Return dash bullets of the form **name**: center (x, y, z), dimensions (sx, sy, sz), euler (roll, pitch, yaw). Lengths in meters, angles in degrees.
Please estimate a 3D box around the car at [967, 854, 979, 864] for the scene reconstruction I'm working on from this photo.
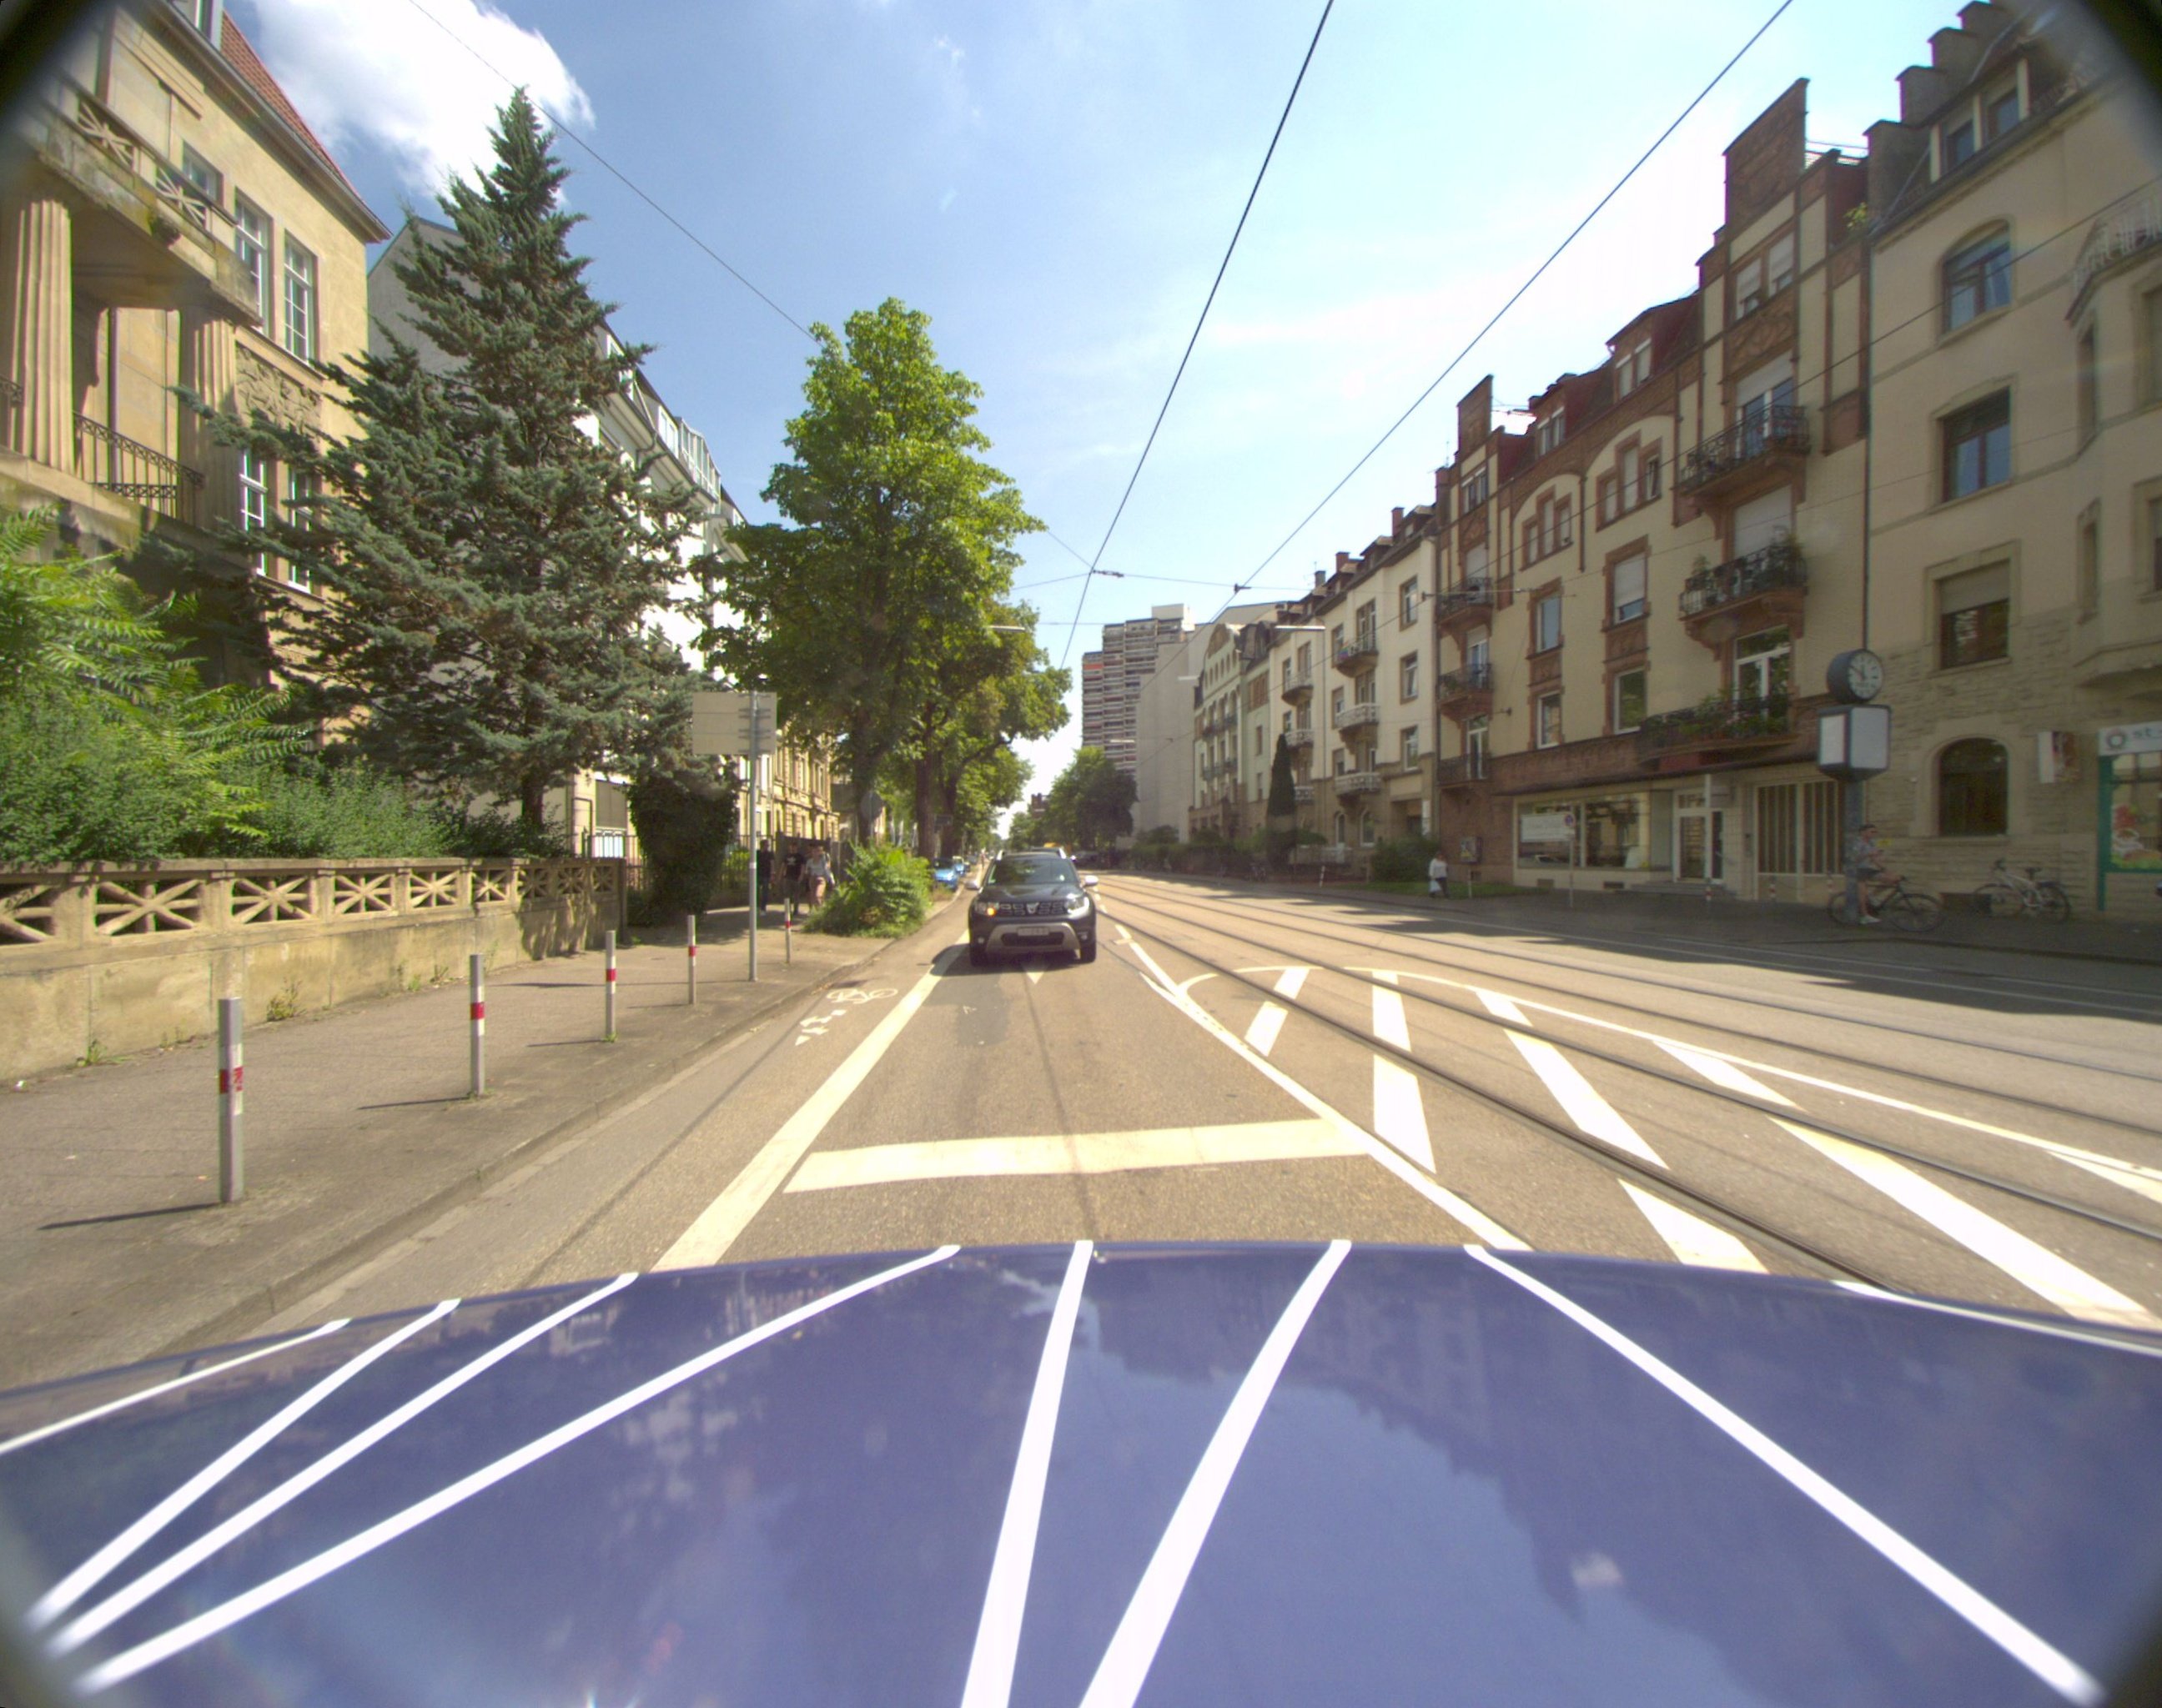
- **car**: center (-15.886, 0.764, 111.861), dimensions (1.627, 1.394, 3.997), euler (2, 0, -7)

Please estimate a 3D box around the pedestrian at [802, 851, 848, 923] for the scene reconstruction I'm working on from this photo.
- **pedestrian**: center (-6.005, 0.753, 17.882), dimensions (0.768, 1.641, 0.974), euler (0, 1, -2)

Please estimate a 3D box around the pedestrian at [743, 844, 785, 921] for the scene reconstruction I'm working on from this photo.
- **pedestrian**: center (-7.546, 0.657, 18.119), dimensions (0.663, 1.801, 0.976), euler (0, 1, -7)

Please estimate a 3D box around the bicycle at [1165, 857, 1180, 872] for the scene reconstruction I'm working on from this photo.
- **bicycle**: center (6.808, 0.779, 56.454), dimensions (0.609, 1.026, 1.770), euler (-4, 1, -7)

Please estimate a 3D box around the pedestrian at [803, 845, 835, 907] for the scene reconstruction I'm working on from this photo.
- **pedestrian**: center (-7.837, 0.642, 22.784), dimensions (0.686, 1.787, 1.083), euler (0, 1, -7)

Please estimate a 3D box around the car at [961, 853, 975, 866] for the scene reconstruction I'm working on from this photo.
- **car**: center (-13.720, 0.667, 92.478), dimensions (1.627, 1.394, 3.820), euler (2, 0, -7)

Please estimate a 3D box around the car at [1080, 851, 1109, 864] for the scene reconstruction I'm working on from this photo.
- **car**: center (1.689, 0.474, 94.566), dimensions (1.677, 1.566, 3.692), euler (1, 1, 40)

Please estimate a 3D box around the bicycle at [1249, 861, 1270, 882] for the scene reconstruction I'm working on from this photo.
- **bicycle**: center (9.084, 0.880, 38.728), dimensions (0.412, 0.955, 1.839), euler (-4, 2, -7)

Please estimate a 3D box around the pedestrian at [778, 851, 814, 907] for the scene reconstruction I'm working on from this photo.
- **pedestrian**: center (-8.519, 0.728, 22.719), dimensions (0.860, 1.636, 0.836), euler (0, 1, -10)

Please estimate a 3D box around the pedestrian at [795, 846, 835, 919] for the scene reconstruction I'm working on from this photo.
- **pedestrian**: center (-6.570, 0.679, 18.796), dimensions (0.707, 1.766, 0.946), euler (0, 1, -5)

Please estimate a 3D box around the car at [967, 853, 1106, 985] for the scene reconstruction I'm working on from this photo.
- **car**: center (-0.806, 0.834, 11.976), dimensions (1.753, 1.641, 4.295), euler (-2, 0, -6)

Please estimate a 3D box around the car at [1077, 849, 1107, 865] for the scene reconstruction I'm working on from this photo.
- **car**: center (1.404, 0.414, 98.193), dimensions (1.597, 2.030, 4.061), euler (0, 0, 43)

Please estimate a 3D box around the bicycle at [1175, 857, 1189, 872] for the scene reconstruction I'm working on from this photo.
- **bicycle**: center (7.066, 0.745, 53.204), dimensions (0.466, 0.993, 1.707), euler (-4, 1, -7)

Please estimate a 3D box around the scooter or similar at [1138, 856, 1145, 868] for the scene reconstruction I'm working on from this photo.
- **scooter or similar**: center (5.342, 0.703, 67.507), dimensions (0.407, 1.113, 1.290), euler (-1, 0, -5)

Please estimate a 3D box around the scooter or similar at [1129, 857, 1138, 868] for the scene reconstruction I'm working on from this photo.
- **scooter or similar**: center (4.899, 0.776, 70.837), dimensions (0.407, 1.014, 1.221), euler (0, 0, -23)

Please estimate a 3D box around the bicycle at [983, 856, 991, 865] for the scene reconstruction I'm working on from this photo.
- **bicycle**: center (-10.908, 0.743, 87.893), dimensions (0.812, 1.089, 2.172), euler (-1, 1, -9)

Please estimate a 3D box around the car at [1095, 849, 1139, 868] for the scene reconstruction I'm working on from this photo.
- **car**: center (3.722, 0.437, 78.569), dimensions (4.596, 1.914, 1.956), euler (0, 0, -44)

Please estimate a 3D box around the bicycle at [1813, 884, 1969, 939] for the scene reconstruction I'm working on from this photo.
- **bicycle**: center (14.602, 1.009, 13.779), dimensions (0.754, 0.813, 1.819), euler (-4, 1, -8)

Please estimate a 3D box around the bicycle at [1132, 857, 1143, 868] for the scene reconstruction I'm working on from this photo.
- **bicycle**: center (5.180, 0.768, 69.212), dimensions (0.609, 0.983, 1.707), euler (-4, 1, -7)

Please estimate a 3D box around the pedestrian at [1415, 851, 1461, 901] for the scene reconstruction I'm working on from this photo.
- **pedestrian**: center (11.278, 0.671, 24.022), dimensions (0.904, 1.533, 0.983), euler (0, 1, -9)

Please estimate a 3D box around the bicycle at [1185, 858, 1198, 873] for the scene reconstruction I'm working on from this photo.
- **bicycle**: center (7.465, 0.742, 51.399), dimensions (0.414, 0.960, 1.724), euler (-4, 1, -7)

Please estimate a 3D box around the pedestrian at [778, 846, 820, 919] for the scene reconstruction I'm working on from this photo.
- **pedestrian**: center (-7.004, 0.689, 18.916), dimensions (0.790, 1.751, 1.051), euler (0, 1, -11)

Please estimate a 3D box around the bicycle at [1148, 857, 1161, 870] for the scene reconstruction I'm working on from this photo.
- **bicycle**: center (6.011, 0.744, 61.954), dimensions (0.609, 0.970, 1.770), euler (-4, 1, -7)

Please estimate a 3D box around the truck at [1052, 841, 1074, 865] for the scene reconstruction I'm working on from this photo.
- **truck**: center (-2.352, -0.133, 98.663), dimensions (2.308, 2.903, 6.511), euler (0, 0, -6)

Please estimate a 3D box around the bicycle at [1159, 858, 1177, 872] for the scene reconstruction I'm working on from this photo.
- **bicycle**: center (6.214, 0.781, 54.220), dimensions (0.608, 0.993, 1.778), euler (0, 0, 29)

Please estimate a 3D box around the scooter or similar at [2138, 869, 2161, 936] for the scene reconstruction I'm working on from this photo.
- **scooter or similar**: center (17.994, 0.778, 12.111), dimensions (1.206, 1.038, 0.697), euler (0, 2, 43)

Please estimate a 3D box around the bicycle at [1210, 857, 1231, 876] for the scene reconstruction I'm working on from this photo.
- **bicycle**: center (8.215, 0.721, 44.743), dimensions (0.609, 1.058, 1.770), euler (-4, 1, -7)

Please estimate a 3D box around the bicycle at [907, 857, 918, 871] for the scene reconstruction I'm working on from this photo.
- **bicycle**: center (-13.347, 0.794, 60.294), dimensions (0.609, 1.065, 1.979), euler (0, 0, -5)

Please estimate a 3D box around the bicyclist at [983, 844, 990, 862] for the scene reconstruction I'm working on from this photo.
- **bicyclist**: center (-10.889, -0.122, 87.621), dimensions (0.774, 2.002, 0.807), euler (0, 1, -11)

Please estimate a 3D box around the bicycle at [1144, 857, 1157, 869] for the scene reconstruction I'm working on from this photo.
- **bicycle**: center (5.822, 0.726, 63.779), dimensions (0.609, 0.983, 1.707), euler (-4, 1, -7)

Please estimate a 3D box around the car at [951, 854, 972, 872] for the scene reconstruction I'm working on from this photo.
- **car**: center (-11.081, 0.816, 70.850), dimensions (1.735, 1.606, 4.081), euler (2, 0, -7)

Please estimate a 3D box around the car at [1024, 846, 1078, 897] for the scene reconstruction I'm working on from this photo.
- **car**: center (-1.251, 0.635, 29.892), dimensions (1.753, 1.806, 4.305), euler (-3, 0, -6)

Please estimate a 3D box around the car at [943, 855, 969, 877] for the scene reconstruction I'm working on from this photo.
- **car**: center (-8.493, 0.768, 51.916), dimensions (1.696, 1.444, 3.471), euler (0, 0, -8)

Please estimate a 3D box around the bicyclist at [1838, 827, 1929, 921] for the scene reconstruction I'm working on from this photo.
- **bicyclist**: center (14.540, 0.353, 13.788), dimensions (0.758, 1.653, 0.830), euler (0, 1, -2)

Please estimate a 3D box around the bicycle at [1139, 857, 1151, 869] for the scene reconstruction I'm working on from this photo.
- **bicycle**: center (5.542, 0.778, 65.819), dimensions (0.609, 0.983, 1.707), euler (-4, 1, -7)

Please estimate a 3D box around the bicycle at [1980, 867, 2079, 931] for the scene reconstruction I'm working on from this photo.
- **bicycle**: center (17.555, 0.798, 14.104), dimensions (0.370, 1.060, 1.466), euler (-1, 2, 17)

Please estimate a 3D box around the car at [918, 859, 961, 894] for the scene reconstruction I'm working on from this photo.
- **car**: center (-6.186, 0.934, 33.469), dimensions (1.683, 1.435, 3.718), euler (0, 0, -8)

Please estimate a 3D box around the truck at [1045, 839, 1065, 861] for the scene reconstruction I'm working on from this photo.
- **truck**: center (-5.145, -0.819, 152.931), dimensions (2.673, 4.155, 10.478), euler (0, 0, 6)
